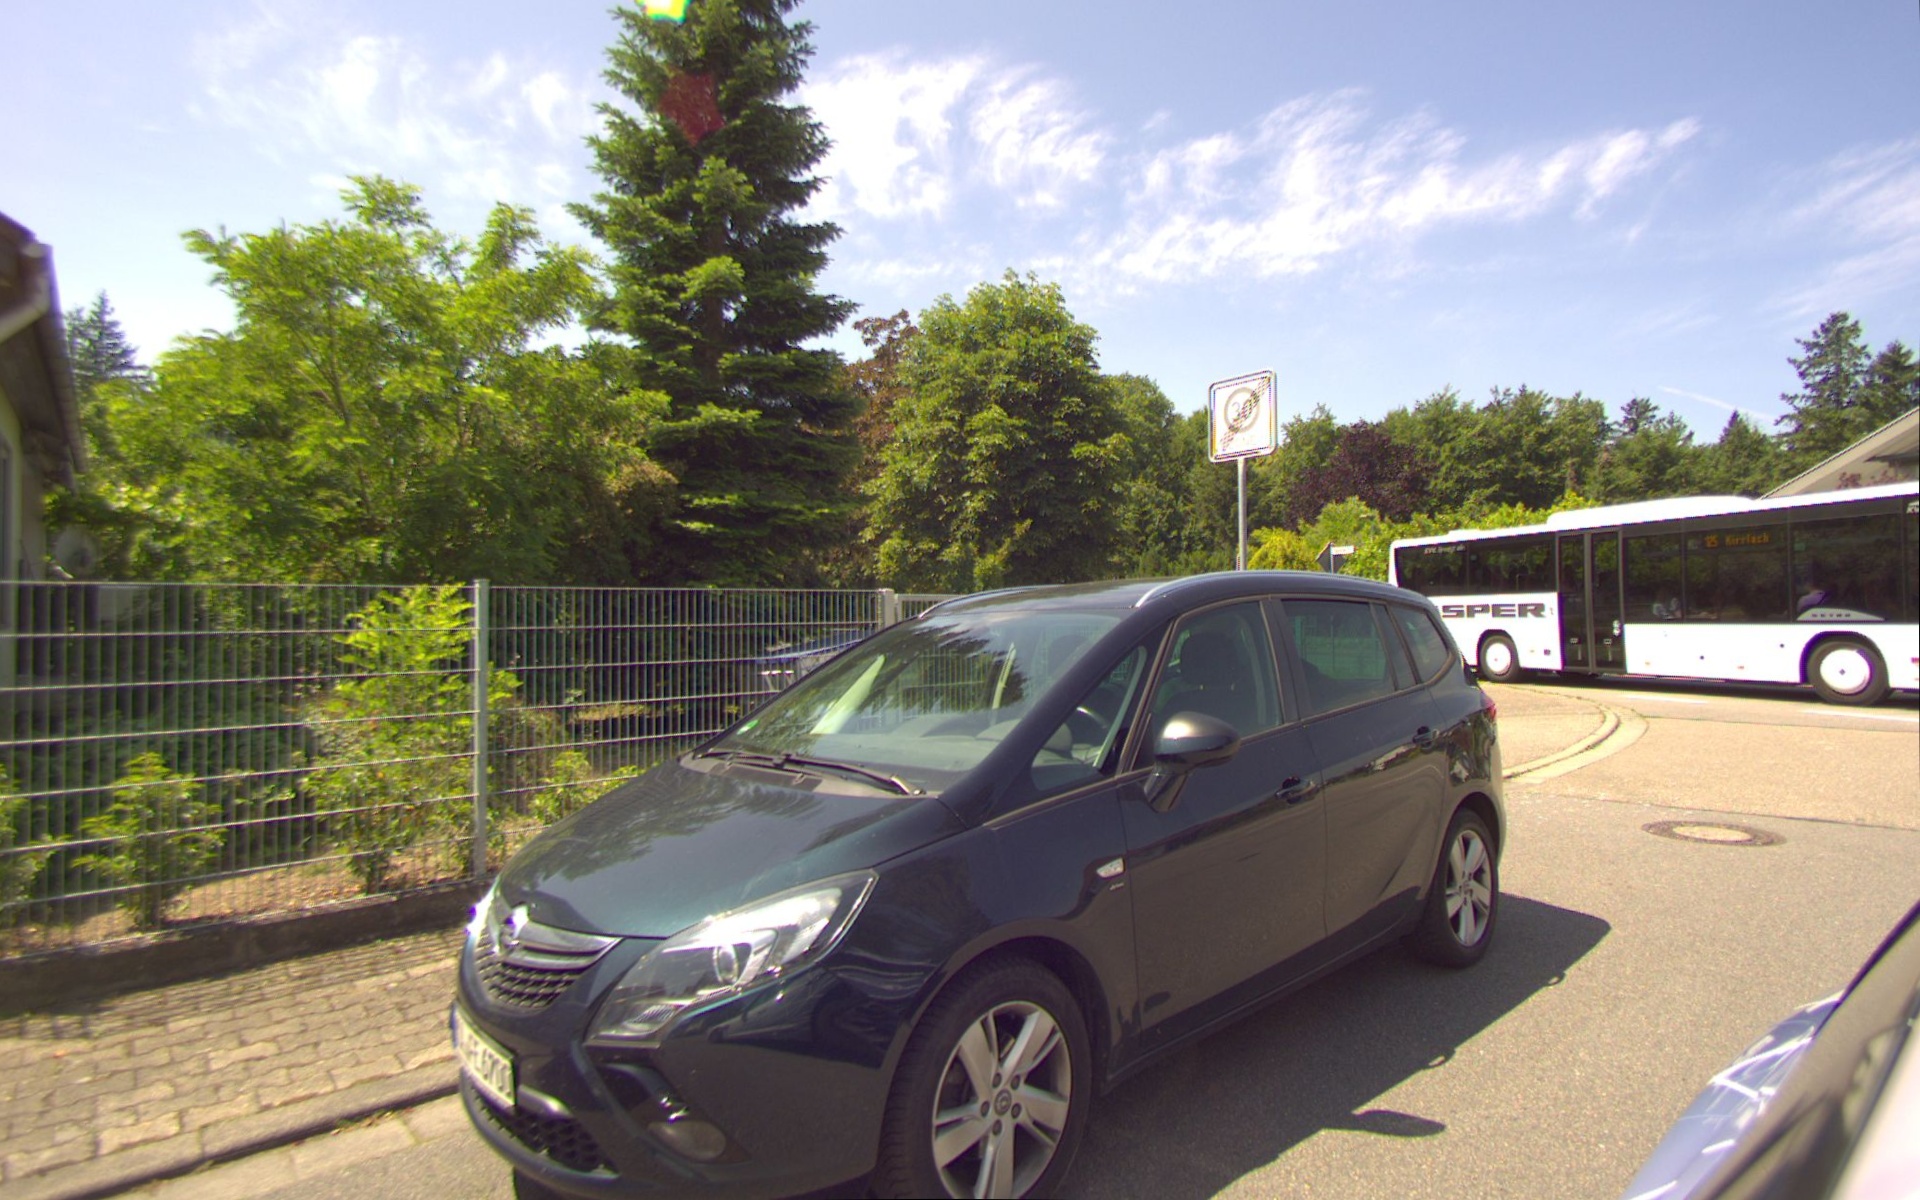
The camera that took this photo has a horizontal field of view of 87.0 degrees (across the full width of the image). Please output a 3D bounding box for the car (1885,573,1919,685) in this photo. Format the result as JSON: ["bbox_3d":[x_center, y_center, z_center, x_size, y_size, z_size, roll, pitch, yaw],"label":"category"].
[{"bbox_3d":[17.962,0.434,15.591,1.978,1.880,5.075,0,-1,-24],"label":"car"}]

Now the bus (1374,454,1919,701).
[{"bbox_3d":[13.045,-0.231,18.260,3.125,3.286,12.734,0,-1,-16],"label":"bus"}]

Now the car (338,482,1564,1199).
[{"bbox_3d":[0.403,0.657,3.950,4.599,1.683,1.966,0,-1,-40],"label":"car"}]

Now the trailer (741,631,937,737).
[{"bbox_3d":[-1.425,0.950,12.229,1.101,1.098,2.189,-2,-1,41],"label":"trailer"}]
